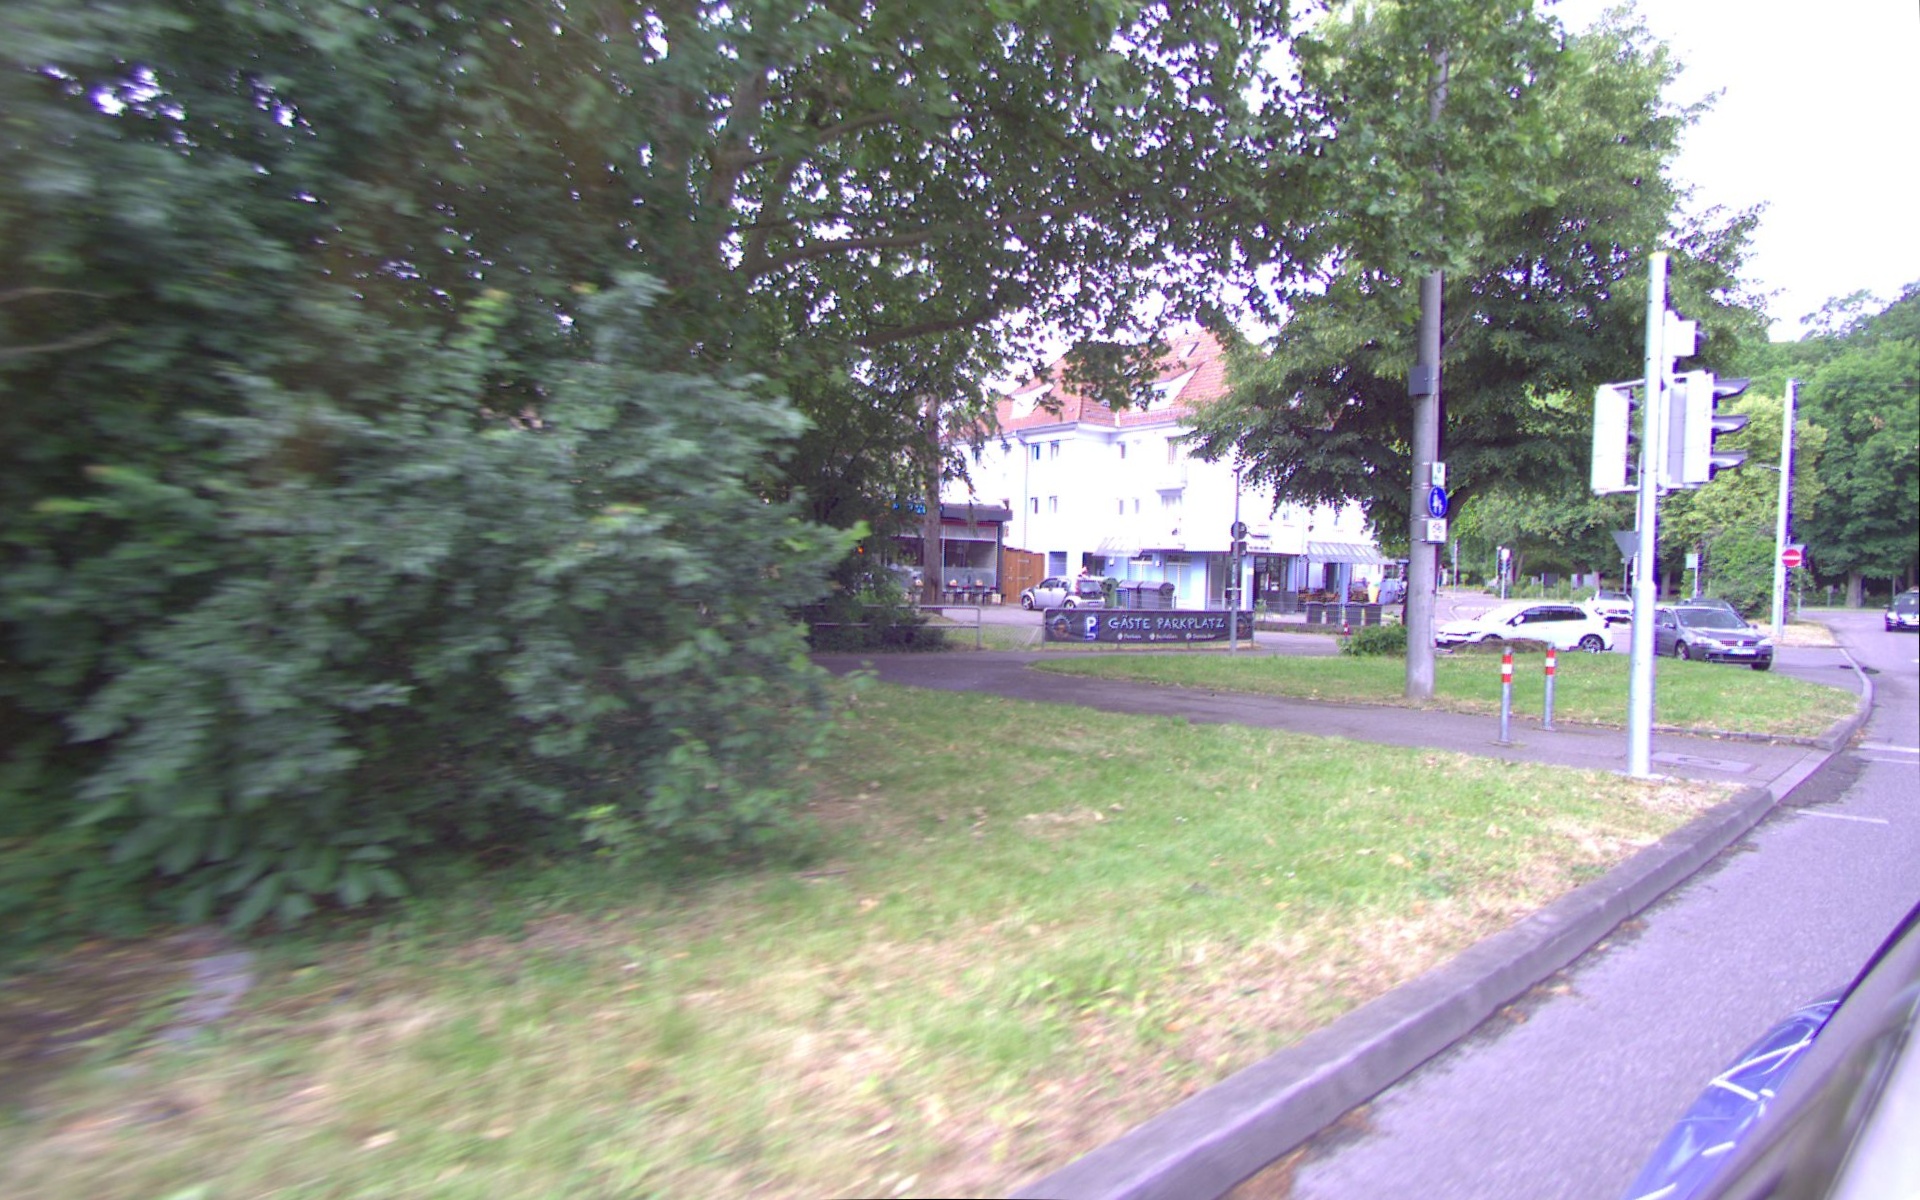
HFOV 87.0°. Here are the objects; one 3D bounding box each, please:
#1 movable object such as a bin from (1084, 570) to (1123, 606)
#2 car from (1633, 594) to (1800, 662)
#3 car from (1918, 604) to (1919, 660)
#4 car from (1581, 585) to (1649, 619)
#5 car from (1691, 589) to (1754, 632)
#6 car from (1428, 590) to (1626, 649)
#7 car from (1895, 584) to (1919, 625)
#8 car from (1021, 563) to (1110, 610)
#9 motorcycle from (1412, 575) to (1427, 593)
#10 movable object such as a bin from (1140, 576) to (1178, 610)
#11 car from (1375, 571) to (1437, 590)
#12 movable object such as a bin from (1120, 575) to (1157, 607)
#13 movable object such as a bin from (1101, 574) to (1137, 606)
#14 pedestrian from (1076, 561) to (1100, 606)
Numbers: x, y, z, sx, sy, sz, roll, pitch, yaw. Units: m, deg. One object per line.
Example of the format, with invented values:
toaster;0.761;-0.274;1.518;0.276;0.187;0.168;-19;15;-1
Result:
movable object such as a bin;5.770;-0.491;40.729;0.978;1.361;1.219;-1;4;-41
car;18.219;0.606;24.627;1.708;1.447;4.096;2;1;13
car;22.629;0.734;22.329;1.620;1.527;3.948;3;2;36
car;31.851;0.054;49.324;1.979;1.403;4.751;2;3;24
car;27.507;0.352;36.483;1.567;1.421;3.443;3;2;41
car;14.823;0.484;26.600;4.179;1.397;1.766;1;2;-2
car;39.542;0.177;41.362;1.725;1.539;3.942;4;4;41
car;4.067;-0.580;39.478;1.594;1.650;3.426;-1;4;-35
motorcycle;27.763;-0.966;61.136;0.518;0.997;1.803;2;3;32
movable object such as a bin;8.818;-0.339;44.875;1.073;1.433;1.219;-1;3;-32
car;38.100;-1.693;86.504;1.865;1.473;4.547;-1;3;-36
movable object such as a bin;8.115;-0.419;46.043;1.138;1.412;1.219;-1;3;-32
movable object such as a bin;7.398;-0.495;47.143;1.073;1.412;1.219;-1;3;-32
pedestrian;5.039;-0.669;39.836;0.601;1.750;0.688;-1;3;-42
